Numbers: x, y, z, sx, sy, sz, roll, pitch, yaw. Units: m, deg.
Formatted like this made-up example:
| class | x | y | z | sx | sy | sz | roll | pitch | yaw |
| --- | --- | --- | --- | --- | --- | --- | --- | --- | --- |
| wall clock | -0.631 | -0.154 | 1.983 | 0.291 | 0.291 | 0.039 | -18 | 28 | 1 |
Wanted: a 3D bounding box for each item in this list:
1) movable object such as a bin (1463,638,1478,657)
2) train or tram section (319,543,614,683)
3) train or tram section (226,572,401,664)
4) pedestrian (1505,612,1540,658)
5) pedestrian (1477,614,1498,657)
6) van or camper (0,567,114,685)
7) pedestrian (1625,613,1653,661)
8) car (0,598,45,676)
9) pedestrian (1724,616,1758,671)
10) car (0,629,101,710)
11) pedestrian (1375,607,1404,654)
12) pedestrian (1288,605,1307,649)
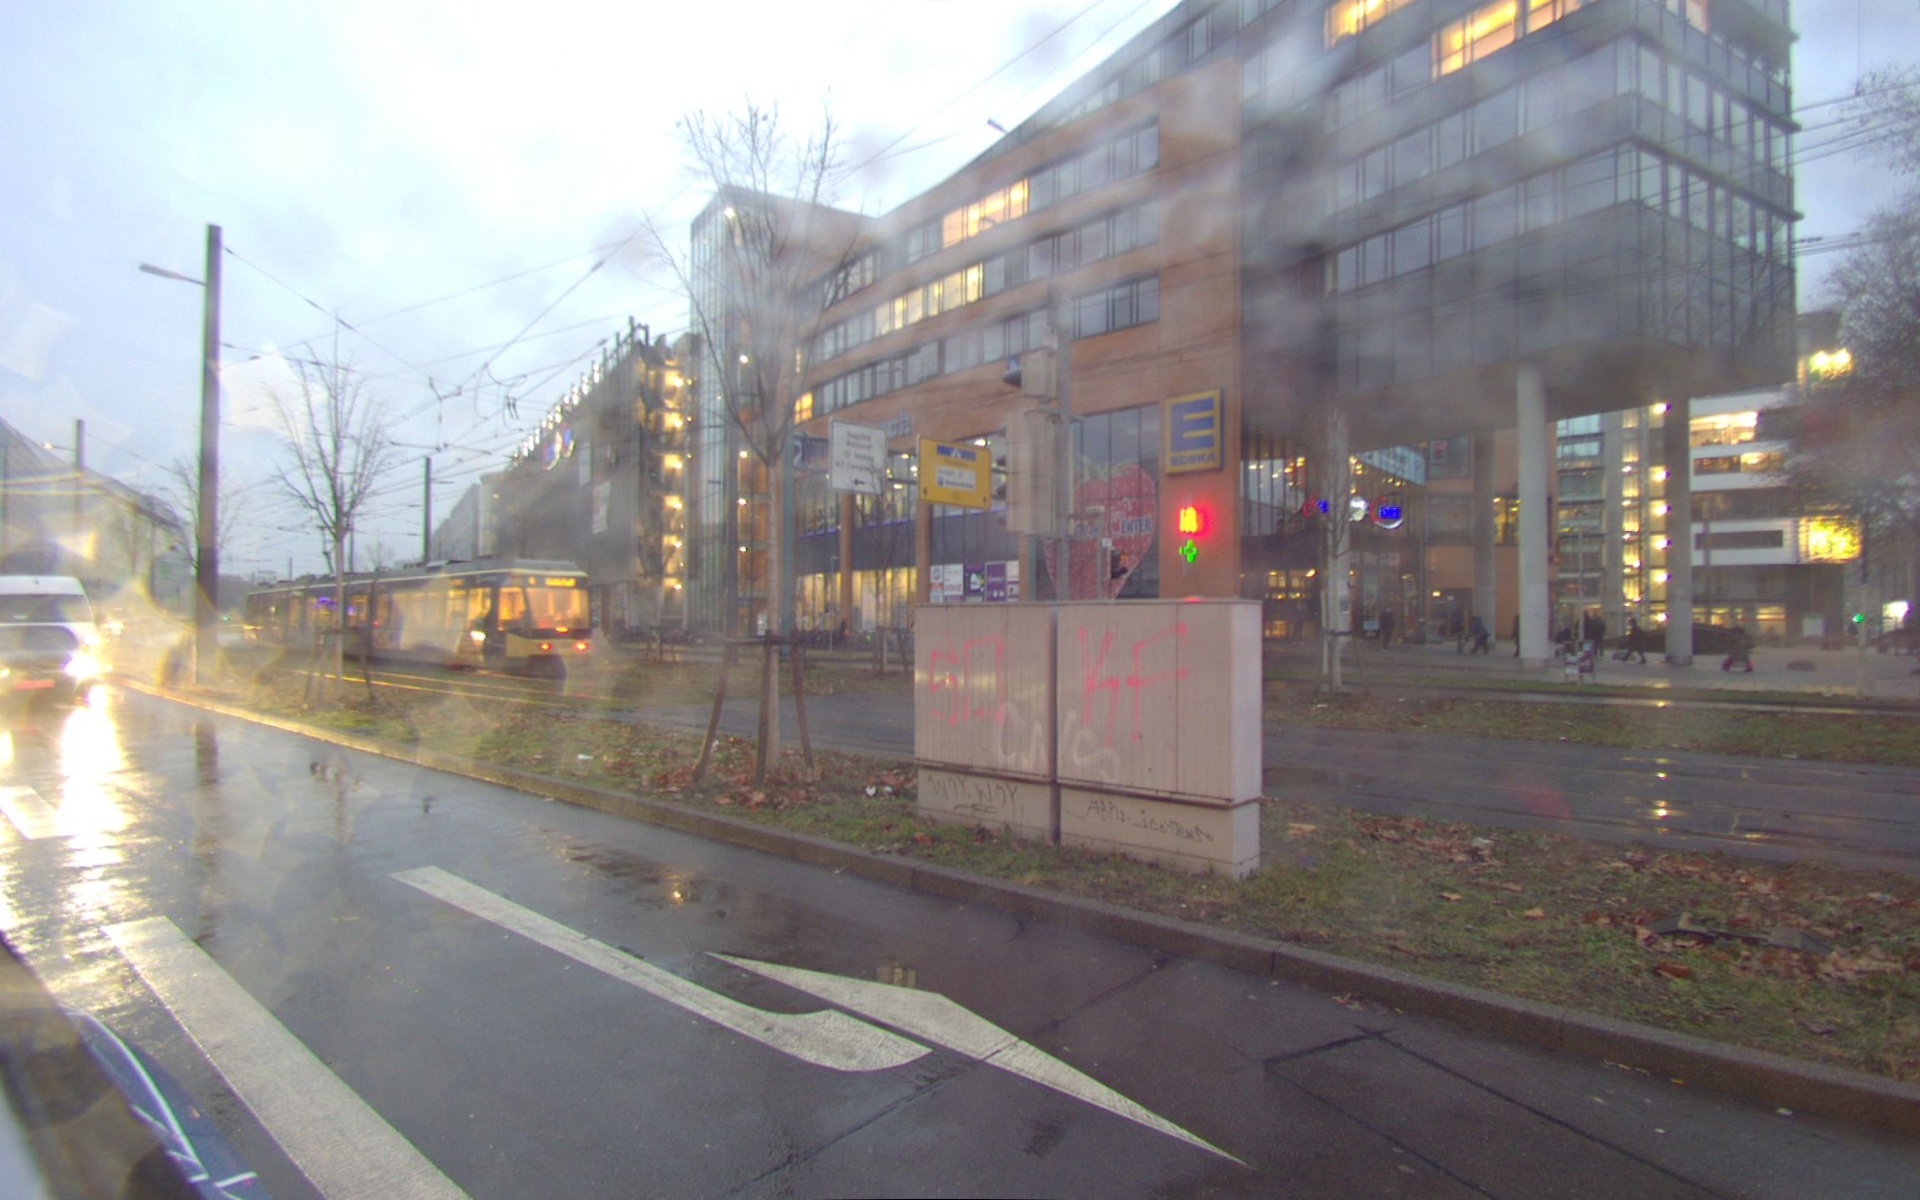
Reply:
| class | x | y | z | sx | sy | sz | roll | pitch | yaw |
| --- | --- | --- | --- | --- | --- | --- | --- | --- | --- |
| movable object such as a bin | 19.799 | 1.837 | 39.230 | 0.484 | 0.694 | 0.353 | -1 | -2 | 33 |
| train or tram section | -17.486 | 0.520 | 34.134 | 2.831 | 3.642 | 19.223 | 2 | -2 | -45 |
| train or tram section | -31.213 | 0.903 | 48.015 | 2.831 | 3.642 | 20.083 | 2 | -2 | -44 |
| pedestrian | 21.463 | 1.335 | 38.595 | 0.994 | 1.725 | 0.787 | 1 | -2 | -34 |
| pedestrian | 20.279 | 1.356 | 38.914 | 0.674 | 1.620 | 0.449 | -1 | -2 | 33 |
| van or camper | -22.502 | 0.628 | 24.482 | 5.894 | 2.551 | 2.126 | -1 | -2 | 40 |
| pedestrian | 24.411 | 1.327 | 36.372 | 0.784 | 1.725 | 0.647 | -1 | -2 | 39 |
| car | -37.578 | 1.405 | 39.517 | 5.811 | 2.885 | 2.102 | -1 | -2 | 41 |
| pedestrian | 25.462 | 1.414 | 33.008 | 0.821 | 1.787 | 0.564 | -1 | -2 | 42 |
| car | -17.324 | 1.292 | 18.728 | 4.057 | 1.355 | 1.735 | -4 | -4 | 43 |
| pedestrian | 16.372 | 1.158 | 38.606 | 0.782 | 1.766 | 0.704 | 0 | -2 | -1 |
| pedestrian | 13.435 | 1.075 | 40.280 | 0.658 | 1.766 | 0.534 | 0 | -2 | 12 |
